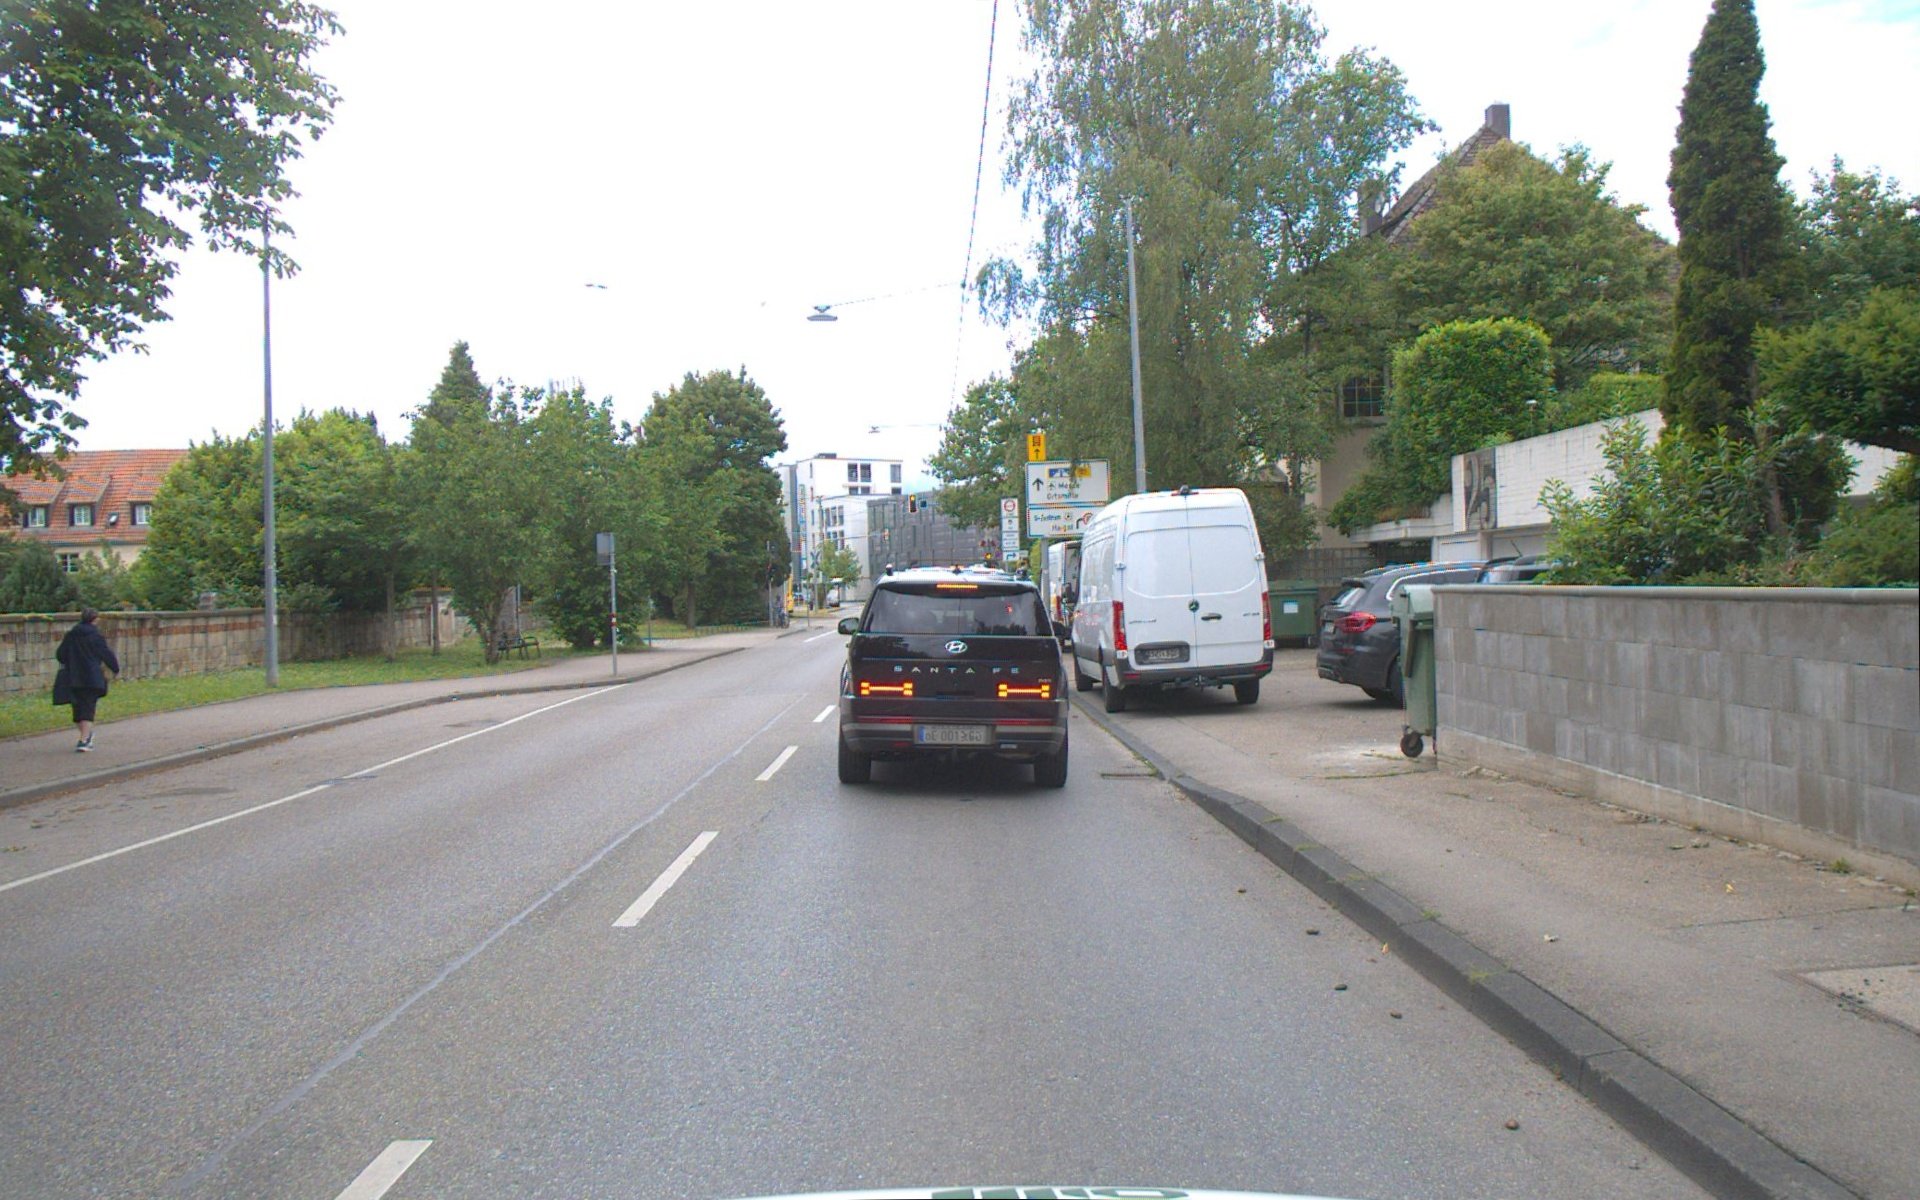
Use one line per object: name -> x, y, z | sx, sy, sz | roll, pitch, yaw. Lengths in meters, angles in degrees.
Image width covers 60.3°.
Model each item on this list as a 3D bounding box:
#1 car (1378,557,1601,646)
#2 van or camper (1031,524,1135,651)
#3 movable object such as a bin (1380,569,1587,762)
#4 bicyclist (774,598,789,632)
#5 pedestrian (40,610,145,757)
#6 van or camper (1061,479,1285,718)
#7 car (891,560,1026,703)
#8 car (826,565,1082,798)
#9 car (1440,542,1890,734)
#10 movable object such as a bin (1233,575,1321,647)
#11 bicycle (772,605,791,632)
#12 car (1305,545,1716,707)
car -> 10.739, 0.028, 33.731 | 3.907, 1.741, 1.969 | 0, 0, -3
van or camper -> 2.998, -0.293, 41.425 | 1.924, 2.845, 5.285 | -3, 0, -2
movable object such as a bin -> 4.312, 0.525, 13.747 | 1.273, 1.476, 1.180 | -3, 0, -1
bicyclist -> -9.095, 0.769, 84.248 | 0.664, 1.688, 0.855 | 0, -2, -15
pedestrian -> -9.840, 0.926, 18.788 | 0.734, 1.605, 0.965 | 0, 0, -6
van or camper -> 2.700, -0.023, 22.592 | 1.924, 2.673, 6.356 | -4, 0, -2
car -> -0.069, 0.453, 25.735 | 1.924, 2.036, 3.999 | 0, 0, -2
car -> -0.076, 0.611, 14.475 | 1.924, 1.741, 3.999 | 0, 0, -1
car -> 6.966, 0.359, 16.654 | 3.719, 1.681, 1.830 | -2, 0, 3
movable object such as a bin -> 6.820, 0.232, 35.689 | 1.422, 1.499, 1.715 | 0, 0, -6
bicycle -> -9.093, 0.946, 84.213 | 0.664, 1.302, 2.491 | 0, -2, -14
car -> 6.509, 0.297, 19.906 | 4.304, 1.681, 1.830 | -2, 0, 0
